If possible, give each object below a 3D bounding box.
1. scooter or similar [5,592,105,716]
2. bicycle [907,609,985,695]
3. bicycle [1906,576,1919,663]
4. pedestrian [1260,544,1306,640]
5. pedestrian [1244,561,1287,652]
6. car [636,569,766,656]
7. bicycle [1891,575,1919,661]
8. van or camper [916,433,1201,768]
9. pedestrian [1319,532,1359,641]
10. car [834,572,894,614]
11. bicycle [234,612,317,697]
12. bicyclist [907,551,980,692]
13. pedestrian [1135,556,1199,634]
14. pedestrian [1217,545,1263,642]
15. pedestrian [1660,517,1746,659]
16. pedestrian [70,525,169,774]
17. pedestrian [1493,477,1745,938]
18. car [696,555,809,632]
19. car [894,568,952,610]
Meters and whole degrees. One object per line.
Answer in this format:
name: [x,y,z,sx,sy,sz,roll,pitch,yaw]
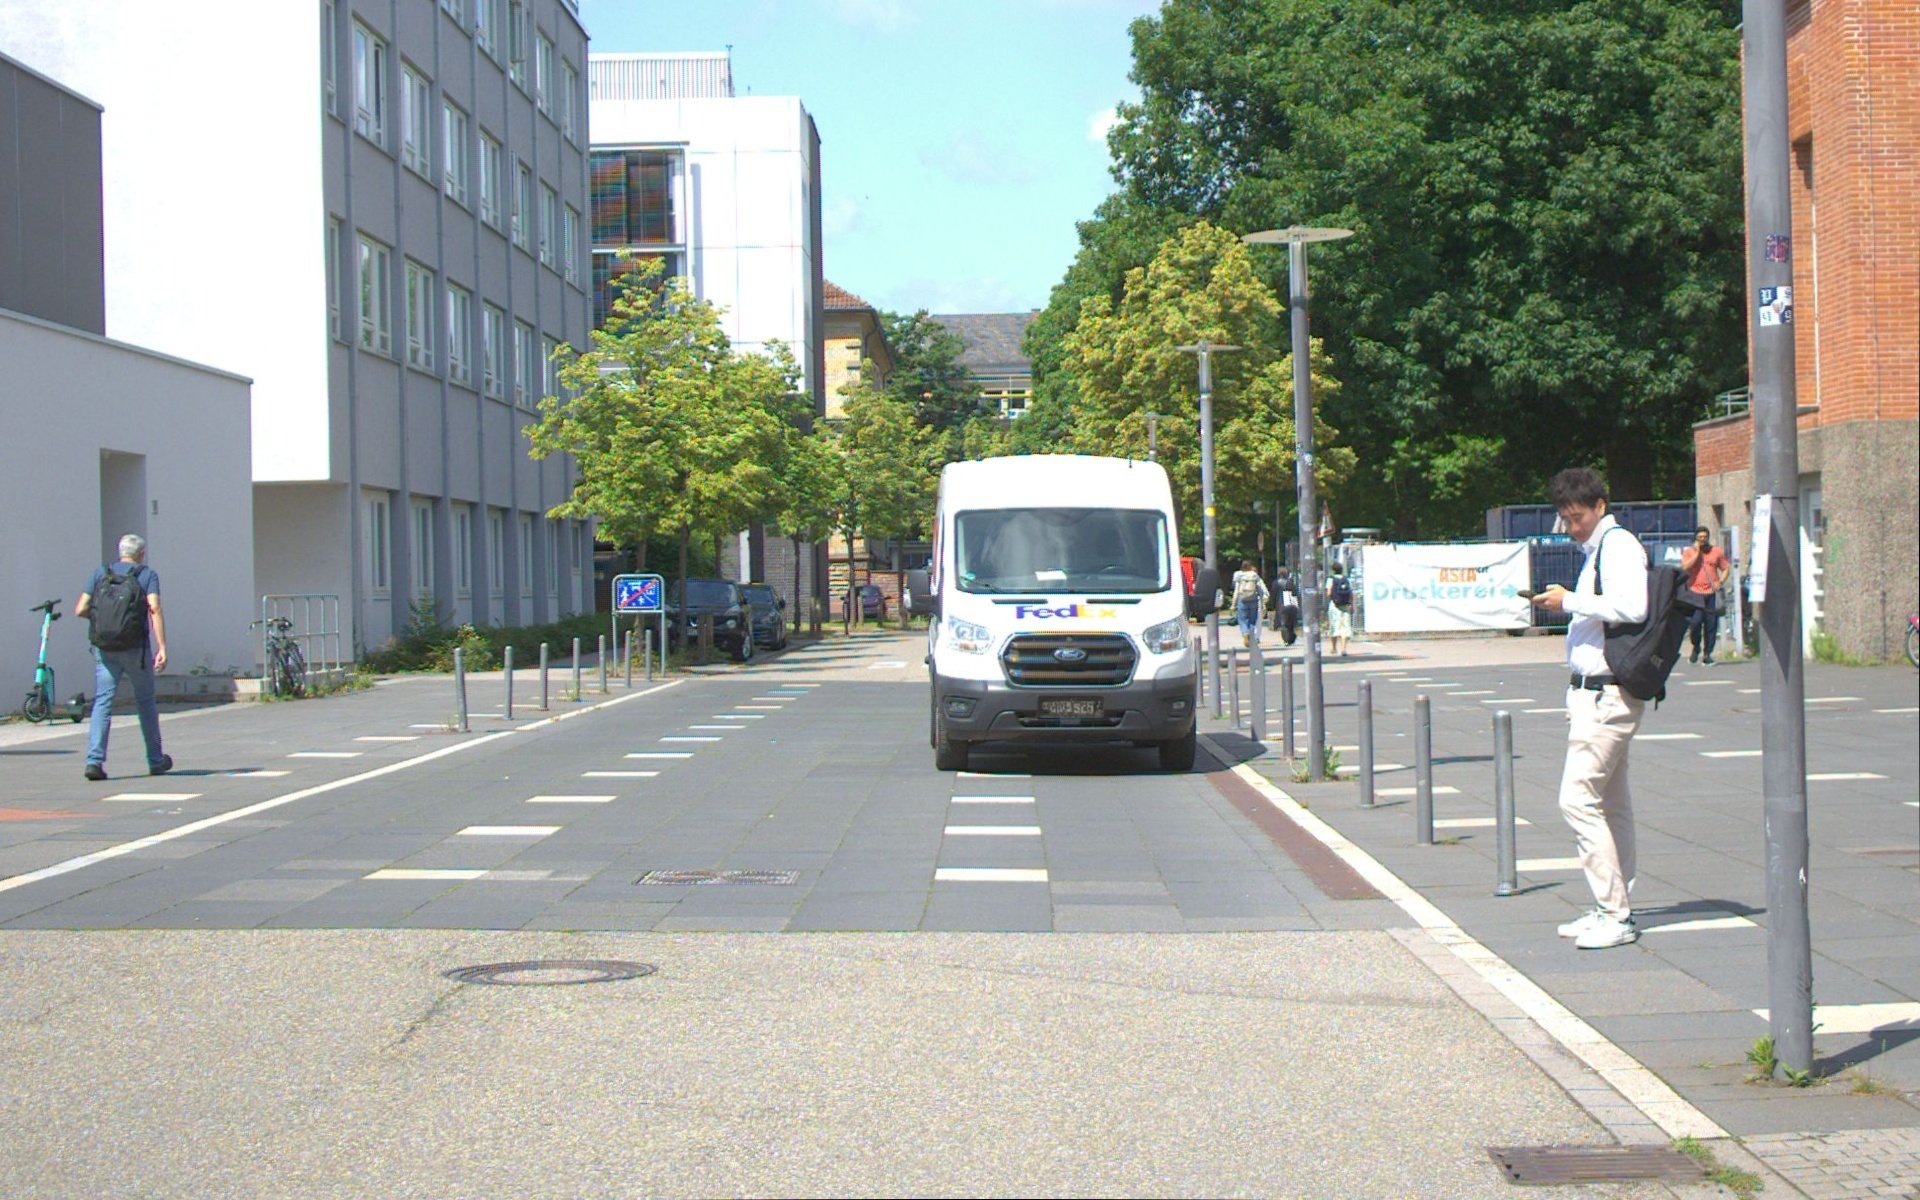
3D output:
scooter or similar: [-9.158,0.537,34.803,0.378,1.212,1.204,-1,0,17]
bicycle: [-0.159,0.644,41.543,0.707,0.990,1.910,-2,-2,6]
bicycle: [11.834,0.190,39.354,1.809,0.981,0.560,-2,0,0]
pedestrian: [6.307,-0.156,67.165,0.790,1.853,1.026,-1,0,2]
pedestrian: [6.341,0.131,71.447,0.790,1.853,1.026,-1,0,2]
car: [-4.804,0.206,64.249,1.796,1.525,3.999,-1,1,5]
bicycle: [11.916,0.177,40.315,1.809,0.981,0.560,-2,0,0]
van or camper: [0.695,0.004,27.484,1.993,2.437,4.570,-1,0,-2]
pedestrian: [6.541,-0.234,59.394,0.576,1.853,0.570,-1,0,-1]
car: [-3.623,-0.286,130.331,1.796,1.525,3.999,-1,1,5]
bicycle: [-8.404,0.658,42.242,0.523,0.981,1.632,-2,0,5]
bicyclist: [-0.193,0.261,41.319,0.717,1.656,1.095,-2,0,6]
pedestrian: [5.613,-0.139,93.273,1.499,1.989,1.646,-4,1,-1]
pedestrian: [5.474,-0.130,67.220,0.790,1.853,1.243,-1,0,2]
pedestrian: [9.936,-0.163,46.009,0.851,1.853,1.116,-1,0,-1]
pedestrian: [-6.145,0.358,25.172,0.666,1.779,0.985,0,-1,-12]
pedestrian: [2.549,0.403,13.392,0.702,1.689,0.962,-4,0,1]
car: [-4.345,-0.153,72.462,1.796,1.525,3.999,-1,1,5]
car: [-1.381,-0.436,130.138,1.796,1.525,3.999,-1,1,5]
